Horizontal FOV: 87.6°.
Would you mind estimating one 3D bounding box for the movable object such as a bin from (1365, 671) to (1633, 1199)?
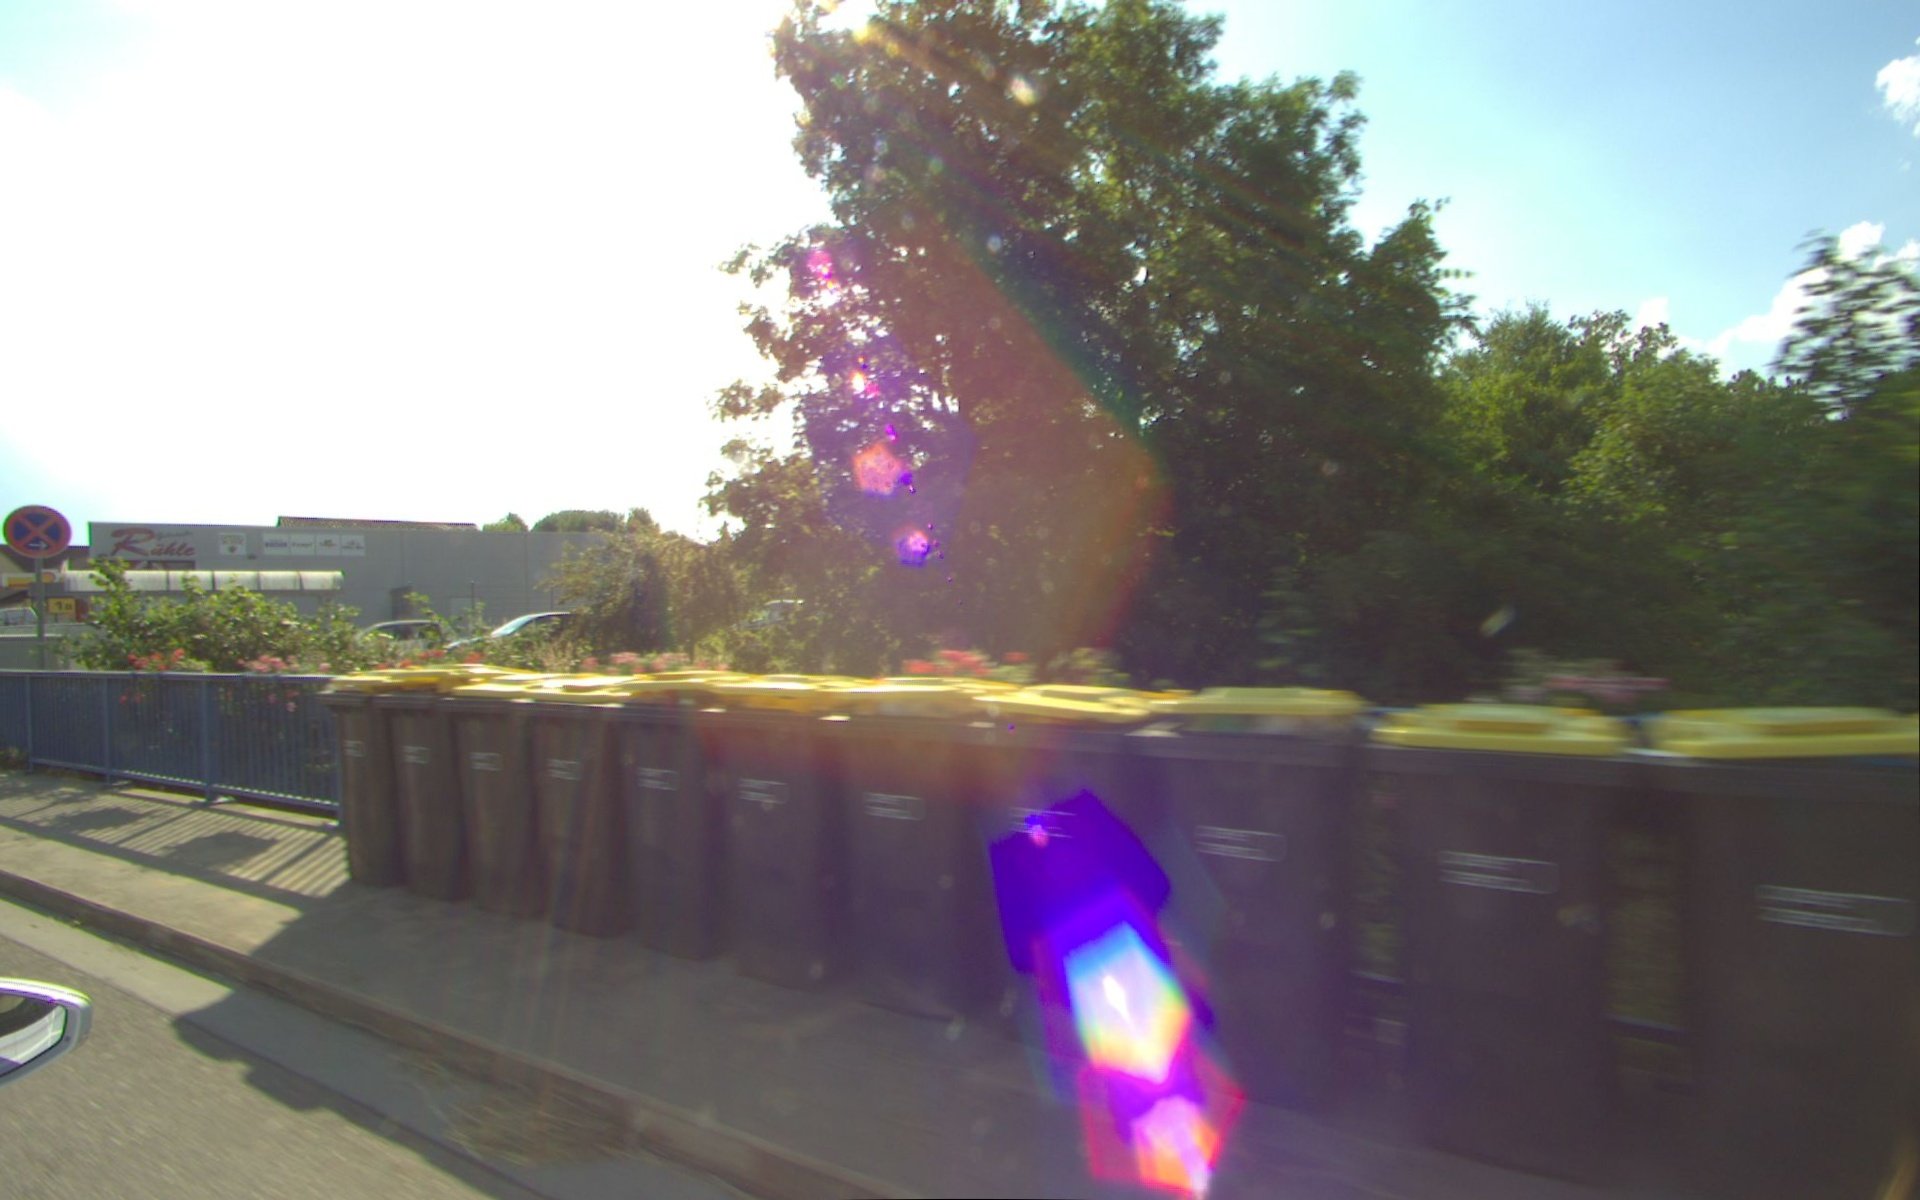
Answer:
[{"bbox_3d":[1.363,0.779,2.537,0.531,1.158,0.477,-1,1,32],"label":"movable object such as a bin"}]

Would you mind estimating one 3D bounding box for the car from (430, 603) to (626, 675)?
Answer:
[{"bbox_3d":[-10.161,0.893,23.730,3.911,1.467,1.667,-2,-1,-43],"label":"car"}]

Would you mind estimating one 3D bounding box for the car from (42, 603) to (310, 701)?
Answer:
[{"bbox_3d":[-15.079,0.940,19.390,3.911,1.624,1.667,-2,-1,-43],"label":"car"}]

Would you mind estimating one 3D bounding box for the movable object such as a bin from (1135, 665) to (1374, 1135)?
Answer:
[{"bbox_3d":[0.855,0.783,2.879,0.531,1.158,0.477,-1,1,32],"label":"movable object such as a bin"}]

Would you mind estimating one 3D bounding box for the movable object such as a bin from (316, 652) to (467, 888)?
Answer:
[{"bbox_3d":[-3.032,0.868,5.350,0.531,1.158,0.477,-1,1,32],"label":"movable object such as a bin"}]

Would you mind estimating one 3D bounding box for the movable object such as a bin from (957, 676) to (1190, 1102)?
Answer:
[{"bbox_3d":[0.366,0.841,3.165,0.556,1.158,0.477,-1,1,32],"label":"movable object such as a bin"}]

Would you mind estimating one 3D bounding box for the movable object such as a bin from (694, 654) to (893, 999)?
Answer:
[{"bbox_3d":[-0.623,0.797,3.781,0.531,1.158,0.477,-1,1,32],"label":"movable object such as a bin"}]

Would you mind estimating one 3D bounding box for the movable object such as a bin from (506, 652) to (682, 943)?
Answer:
[{"bbox_3d":[-1.609,0.824,4.419,0.531,1.158,0.477,-1,1,32],"label":"movable object such as a bin"}]

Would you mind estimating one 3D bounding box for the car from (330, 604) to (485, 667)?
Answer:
[{"bbox_3d":[-14.870,0.926,27.030,3.407,1.435,1.487,-3,0,-39],"label":"car"}]

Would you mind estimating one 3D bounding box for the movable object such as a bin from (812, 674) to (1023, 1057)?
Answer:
[{"bbox_3d":[-0.141,0.858,3.481,0.531,1.158,0.477,-1,1,32],"label":"movable object such as a bin"}]

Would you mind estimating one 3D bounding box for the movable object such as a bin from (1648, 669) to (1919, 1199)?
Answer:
[{"bbox_3d":[1.858,0.748,2.197,0.531,1.158,0.477,-1,1,32],"label":"movable object such as a bin"}]

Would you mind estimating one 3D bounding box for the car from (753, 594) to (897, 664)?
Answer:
[{"bbox_3d":[-3.577,0.749,26.109,1.666,1.675,3.913,-2,0,-45],"label":"car"}]

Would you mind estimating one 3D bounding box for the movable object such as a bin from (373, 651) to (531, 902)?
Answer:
[{"bbox_3d":[-2.557,0.849,5.050,0.531,1.158,0.477,-1,1,32],"label":"movable object such as a bin"}]

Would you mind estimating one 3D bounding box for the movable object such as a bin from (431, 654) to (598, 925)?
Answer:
[{"bbox_3d":[-2.097,0.848,4.727,0.531,1.158,0.477,-1,1,32],"label":"movable object such as a bin"}]

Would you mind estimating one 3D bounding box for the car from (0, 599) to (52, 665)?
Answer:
[{"bbox_3d":[-36.877,1.253,38.992,5.124,2.406,1.825,-2,0,44],"label":"car"}]

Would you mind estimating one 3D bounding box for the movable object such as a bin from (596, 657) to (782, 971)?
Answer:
[{"bbox_3d":[-1.111,0.827,4.127,0.531,1.158,0.477,-1,1,32],"label":"movable object such as a bin"}]
